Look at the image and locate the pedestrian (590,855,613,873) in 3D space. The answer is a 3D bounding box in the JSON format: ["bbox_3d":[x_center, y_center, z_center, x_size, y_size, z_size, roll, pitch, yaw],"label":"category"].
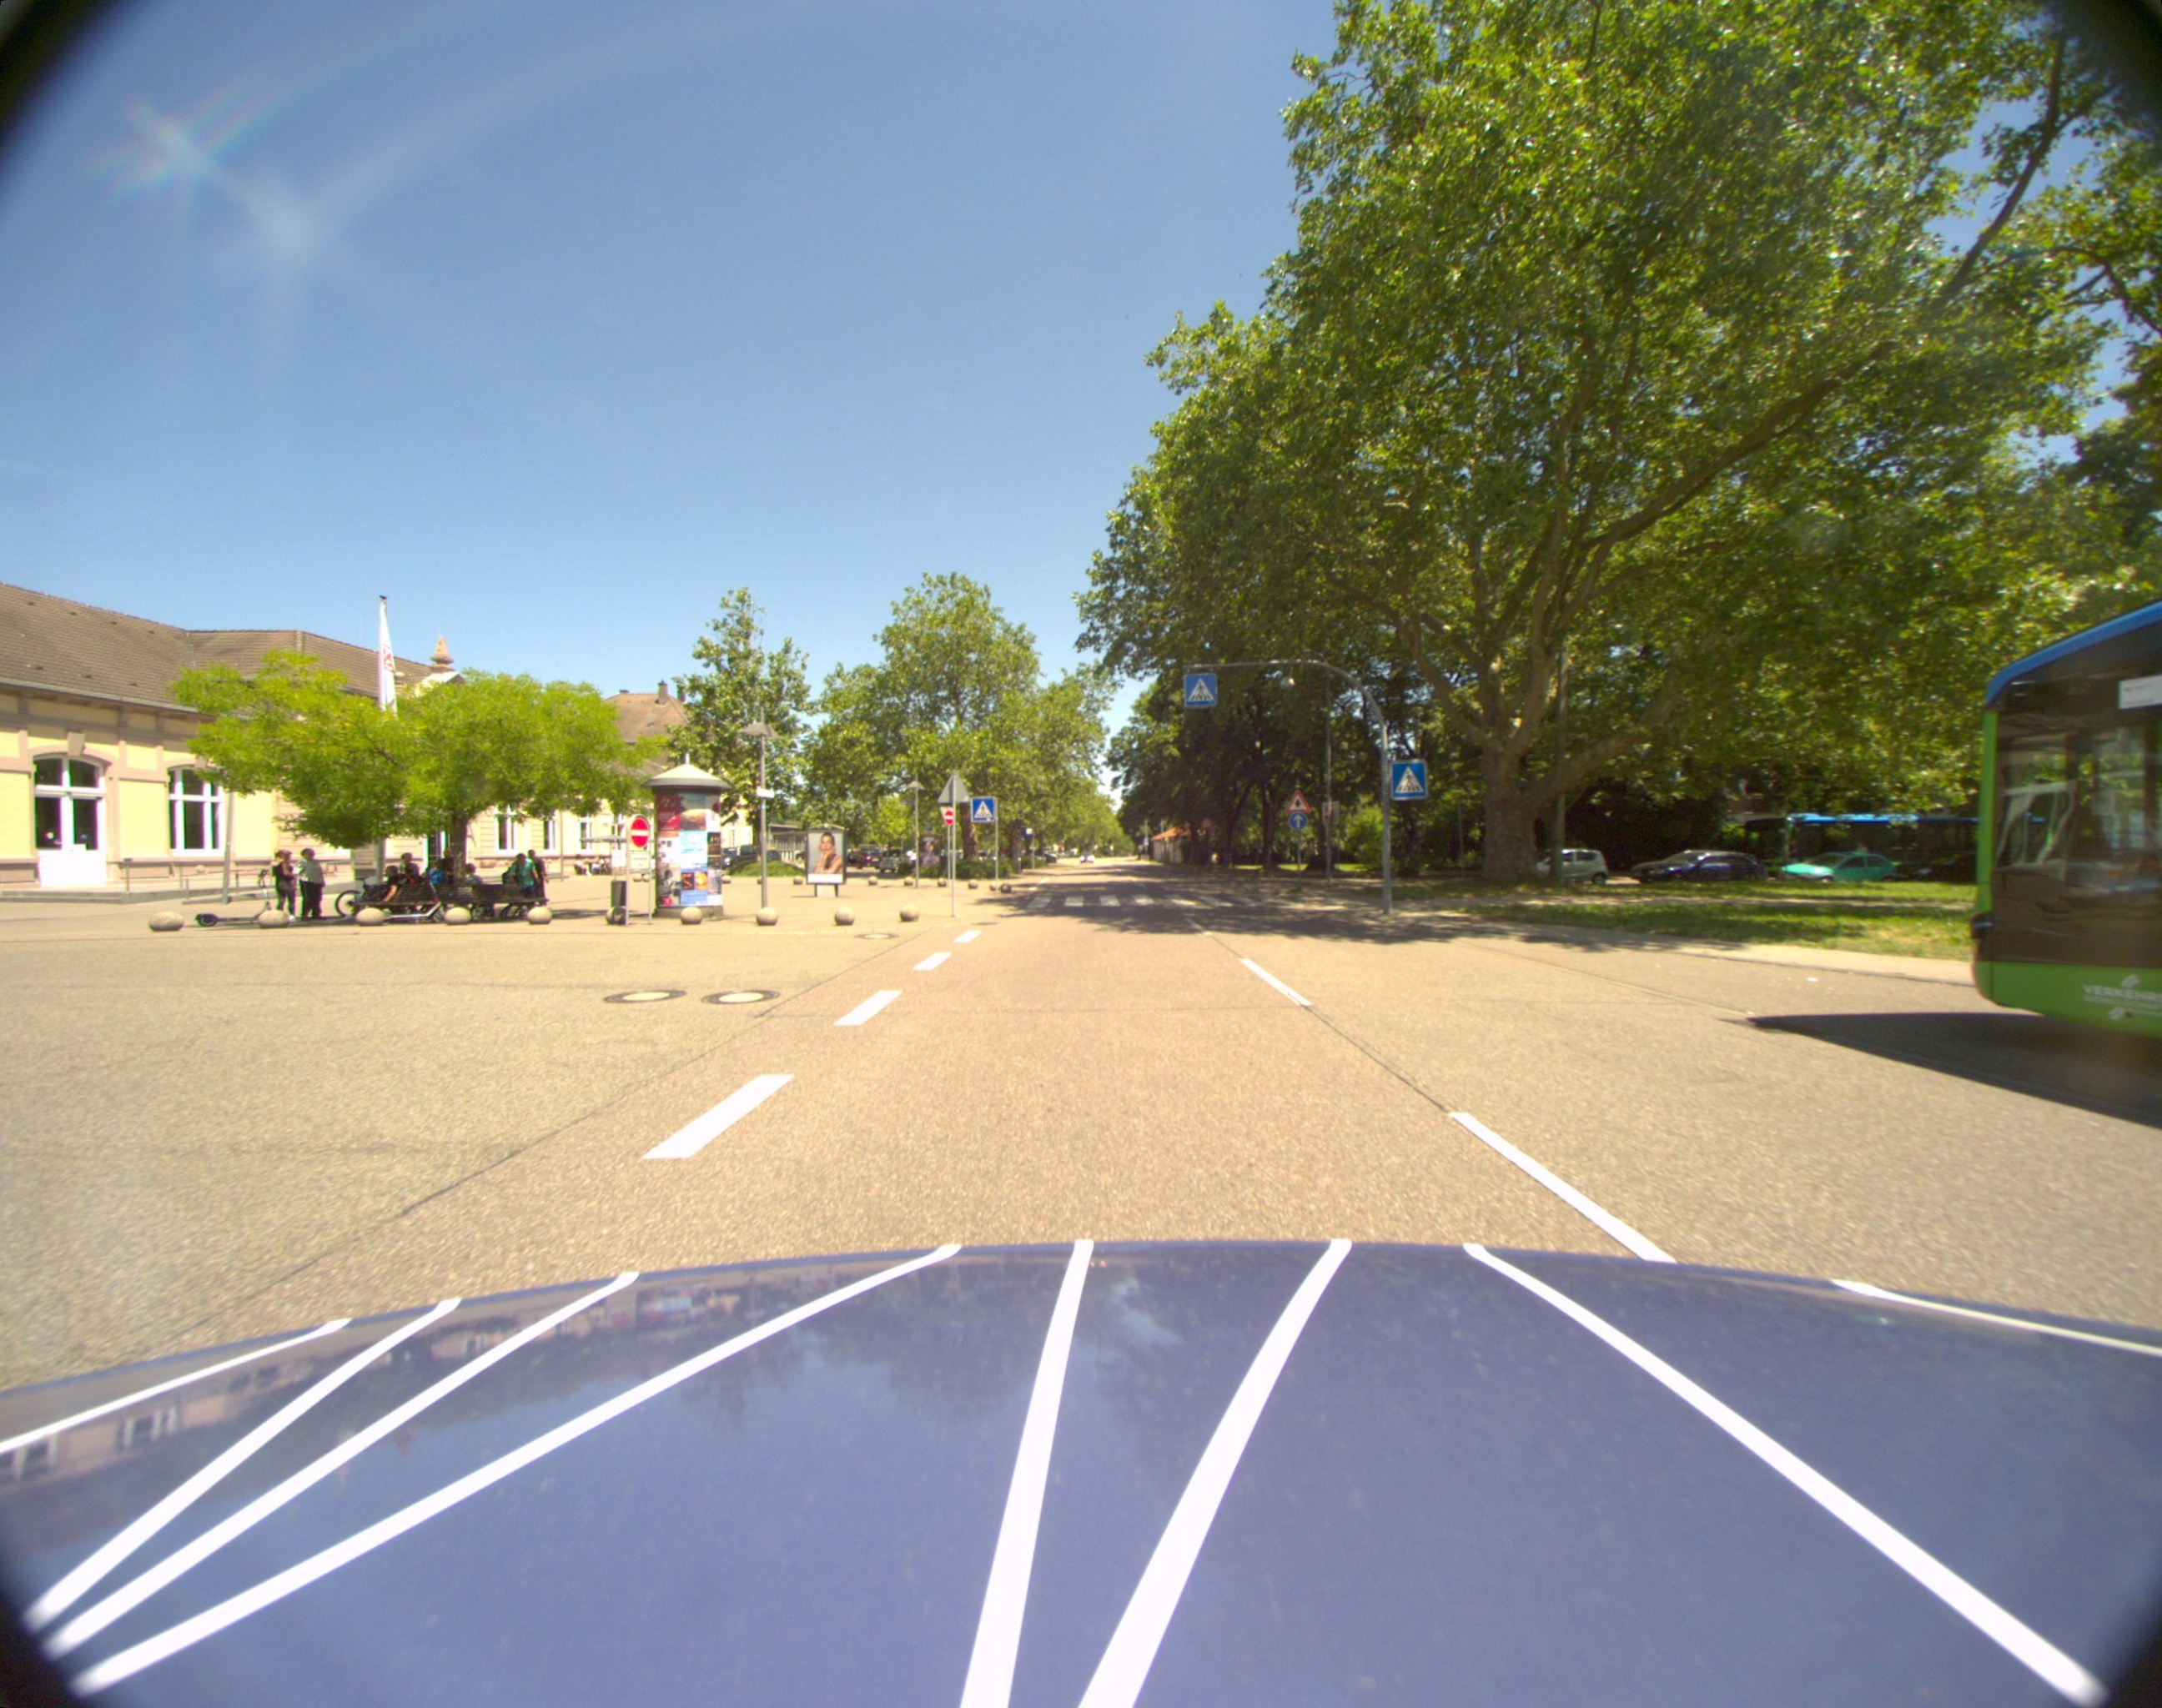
[{"bbox_3d":[-30.190,0.622,47.849,0.881,1.155,0.851,1,1,-3],"label":"pedestrian"}]

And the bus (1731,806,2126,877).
[{"bbox_3d":[41.162,-0.615,37.270,15.938,3.276,2.877,0,1,1],"label":"bus"}]

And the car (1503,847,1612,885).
[{"bbox_3d":[19.738,0.469,31.564,3.483,1.489,1.599,0,2,1],"label":"car"}]

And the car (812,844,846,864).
[{"bbox_3d":[-25.717,-0.019,77.701,2.003,1.830,5.315,-2,1,-4],"label":"car"}]

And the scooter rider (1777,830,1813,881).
[{"bbox_3d":[32.648,0.047,34.745,0.926,2.304,0.741,0,1,2],"label":"scooter rider"}]

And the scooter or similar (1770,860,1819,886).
[{"bbox_3d":[32.644,0.862,34.764,1.518,1.176,0.741,0,1,2],"label":"scooter or similar"}]

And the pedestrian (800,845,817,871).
[{"bbox_3d":[-17.736,0.259,49.466,0.812,1.707,0.775,1,2,44],"label":"pedestrian"}]

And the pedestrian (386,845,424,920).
[{"bbox_3d":[-16.003,0.657,18.000,0.513,1.730,0.569,-1,1,-28],"label":"pedestrian"}]

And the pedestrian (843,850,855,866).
[{"bbox_3d":[-21.160,0.377,69.402,0.689,1.416,0.802,0,1,36],"label":"pedestrian"}]

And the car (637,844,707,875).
[{"bbox_3d":[-26.251,0.353,48.974,1.814,1.855,5.138,-1,0,-1],"label":"car"}]

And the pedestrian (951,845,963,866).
[{"bbox_3d":[-10.724,0.102,65.659,0.839,1.760,0.850,-1,1,-18],"label":"pedestrian"}]

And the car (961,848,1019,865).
[{"bbox_3d":[-7.966,0.191,66.464,4.782,1.409,1.783,-1,1,-18],"label":"car"}]

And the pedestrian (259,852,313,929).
[{"bbox_3d":[-17.712,0.788,16.938,0.555,1.675,0.587,-1,1,-11],"label":"pedestrian"}]

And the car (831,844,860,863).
[{"bbox_3d":[-26.064,-0.130,84.253,2.003,1.978,4.600,-2,1,-4],"label":"car"}]

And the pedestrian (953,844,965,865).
[{"bbox_3d":[-10.393,0.043,64.674,0.839,1.760,0.850,-1,1,-20],"label":"pedestrian"}]

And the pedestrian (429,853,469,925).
[{"bbox_3d":[-15.607,0.853,18.788,0.586,1.730,0.598,-1,1,-24],"label":"pedestrian"}]

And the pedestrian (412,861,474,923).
[{"bbox_3d":[-15.001,0.861,17.899,0.914,1.378,0.942,-1,1,-29],"label":"pedestrian"}]

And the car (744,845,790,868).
[{"bbox_3d":[-26.188,0.211,63.514,2.080,1.829,4.838,-1,0,-4],"label":"car"}]

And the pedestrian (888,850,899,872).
[{"bbox_3d":[-13.605,0.509,55.076,0.591,1.539,0.609,0,1,-31],"label":"pedestrian"}]

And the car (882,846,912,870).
[{"bbox_3d":[-12.692,0.251,52.494,1.601,1.584,3.104,-1,1,-6],"label":"car"}]

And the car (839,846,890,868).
[{"bbox_3d":[-17.118,0.236,59.994,4.516,1.534,1.804,2,4,44],"label":"car"}]

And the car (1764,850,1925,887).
[{"bbox_3d":[31.209,0.573,31.142,4.766,1.431,1.756,0,1,1],"label":"car"}]

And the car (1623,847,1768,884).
[{"bbox_3d":[25.119,0.447,31.176,4.499,1.431,1.755,0,2,1],"label":"car"}]

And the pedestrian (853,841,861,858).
[{"bbox_3d":[-25.652,-0.493,87.078,0.628,1.978,0.617,-2,1,-4],"label":"pedestrian"}]

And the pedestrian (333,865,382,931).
[{"bbox_3d":[-15.569,0.929,16.355,0.600,1.356,0.598,-1,1,-27],"label":"pedestrian"}]

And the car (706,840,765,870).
[{"bbox_3d":[-25.697,0.093,56.743,2.093,2.112,5.823,-1,0,-4],"label":"car"}]

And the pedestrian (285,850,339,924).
[{"bbox_3d":[-17.773,0.744,17.575,0.619,1.675,0.590,-1,1,-11],"label":"pedestrian"}]

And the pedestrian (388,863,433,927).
[{"bbox_3d":[-14.731,0.882,16.706,0.600,1.356,0.598,-1,1,-27],"label":"pedestrian"}]

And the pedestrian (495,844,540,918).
[{"bbox_3d":[-13.615,0.642,18.363,0.694,1.754,0.584,-1,1,-18],"label":"pedestrian"}]

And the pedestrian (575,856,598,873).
[{"bbox_3d":[-31.130,0.651,47.807,0.881,1.073,0.851,1,1,-3],"label":"pedestrian"}]

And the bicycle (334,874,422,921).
[{"bbox_3d":[-17.787,1.078,19.292,0.421,1.054,1.948,0,1,-1],"label":"bicycle"}]

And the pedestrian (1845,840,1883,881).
[{"bbox_3d":[34.419,0.288,33.425,0.940,1.792,0.721,-1,1,-4],"label":"pedestrian"}]

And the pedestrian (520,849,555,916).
[{"bbox_3d":[-14.193,0.728,19.855,0.628,1.730,0.547,-1,1,-24],"label":"pedestrian"}]

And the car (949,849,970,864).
[{"bbox_3d":[-15.417,0.276,96.485,1.741,1.883,3.992,-1,1,-23],"label":"car"}]

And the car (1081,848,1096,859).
[{"bbox_3d":[0.924,-0.099,98.847,1.661,1.368,3.450,-3,1,-3],"label":"car"}]

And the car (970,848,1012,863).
[{"bbox_3d":[-9.044,0.176,76.748,3.882,1.452,1.632,-1,1,-27],"label":"car"}]

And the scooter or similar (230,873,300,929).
[{"bbox_3d":[-17.087,0.984,15.917,1.028,1.133,0.294,-1,2,-7],"label":"scooter or similar"}]

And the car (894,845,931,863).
[{"bbox_3d":[-16.991,-0.042,76.516,1.804,1.596,4.051,-3,4,-44],"label":"car"}]
